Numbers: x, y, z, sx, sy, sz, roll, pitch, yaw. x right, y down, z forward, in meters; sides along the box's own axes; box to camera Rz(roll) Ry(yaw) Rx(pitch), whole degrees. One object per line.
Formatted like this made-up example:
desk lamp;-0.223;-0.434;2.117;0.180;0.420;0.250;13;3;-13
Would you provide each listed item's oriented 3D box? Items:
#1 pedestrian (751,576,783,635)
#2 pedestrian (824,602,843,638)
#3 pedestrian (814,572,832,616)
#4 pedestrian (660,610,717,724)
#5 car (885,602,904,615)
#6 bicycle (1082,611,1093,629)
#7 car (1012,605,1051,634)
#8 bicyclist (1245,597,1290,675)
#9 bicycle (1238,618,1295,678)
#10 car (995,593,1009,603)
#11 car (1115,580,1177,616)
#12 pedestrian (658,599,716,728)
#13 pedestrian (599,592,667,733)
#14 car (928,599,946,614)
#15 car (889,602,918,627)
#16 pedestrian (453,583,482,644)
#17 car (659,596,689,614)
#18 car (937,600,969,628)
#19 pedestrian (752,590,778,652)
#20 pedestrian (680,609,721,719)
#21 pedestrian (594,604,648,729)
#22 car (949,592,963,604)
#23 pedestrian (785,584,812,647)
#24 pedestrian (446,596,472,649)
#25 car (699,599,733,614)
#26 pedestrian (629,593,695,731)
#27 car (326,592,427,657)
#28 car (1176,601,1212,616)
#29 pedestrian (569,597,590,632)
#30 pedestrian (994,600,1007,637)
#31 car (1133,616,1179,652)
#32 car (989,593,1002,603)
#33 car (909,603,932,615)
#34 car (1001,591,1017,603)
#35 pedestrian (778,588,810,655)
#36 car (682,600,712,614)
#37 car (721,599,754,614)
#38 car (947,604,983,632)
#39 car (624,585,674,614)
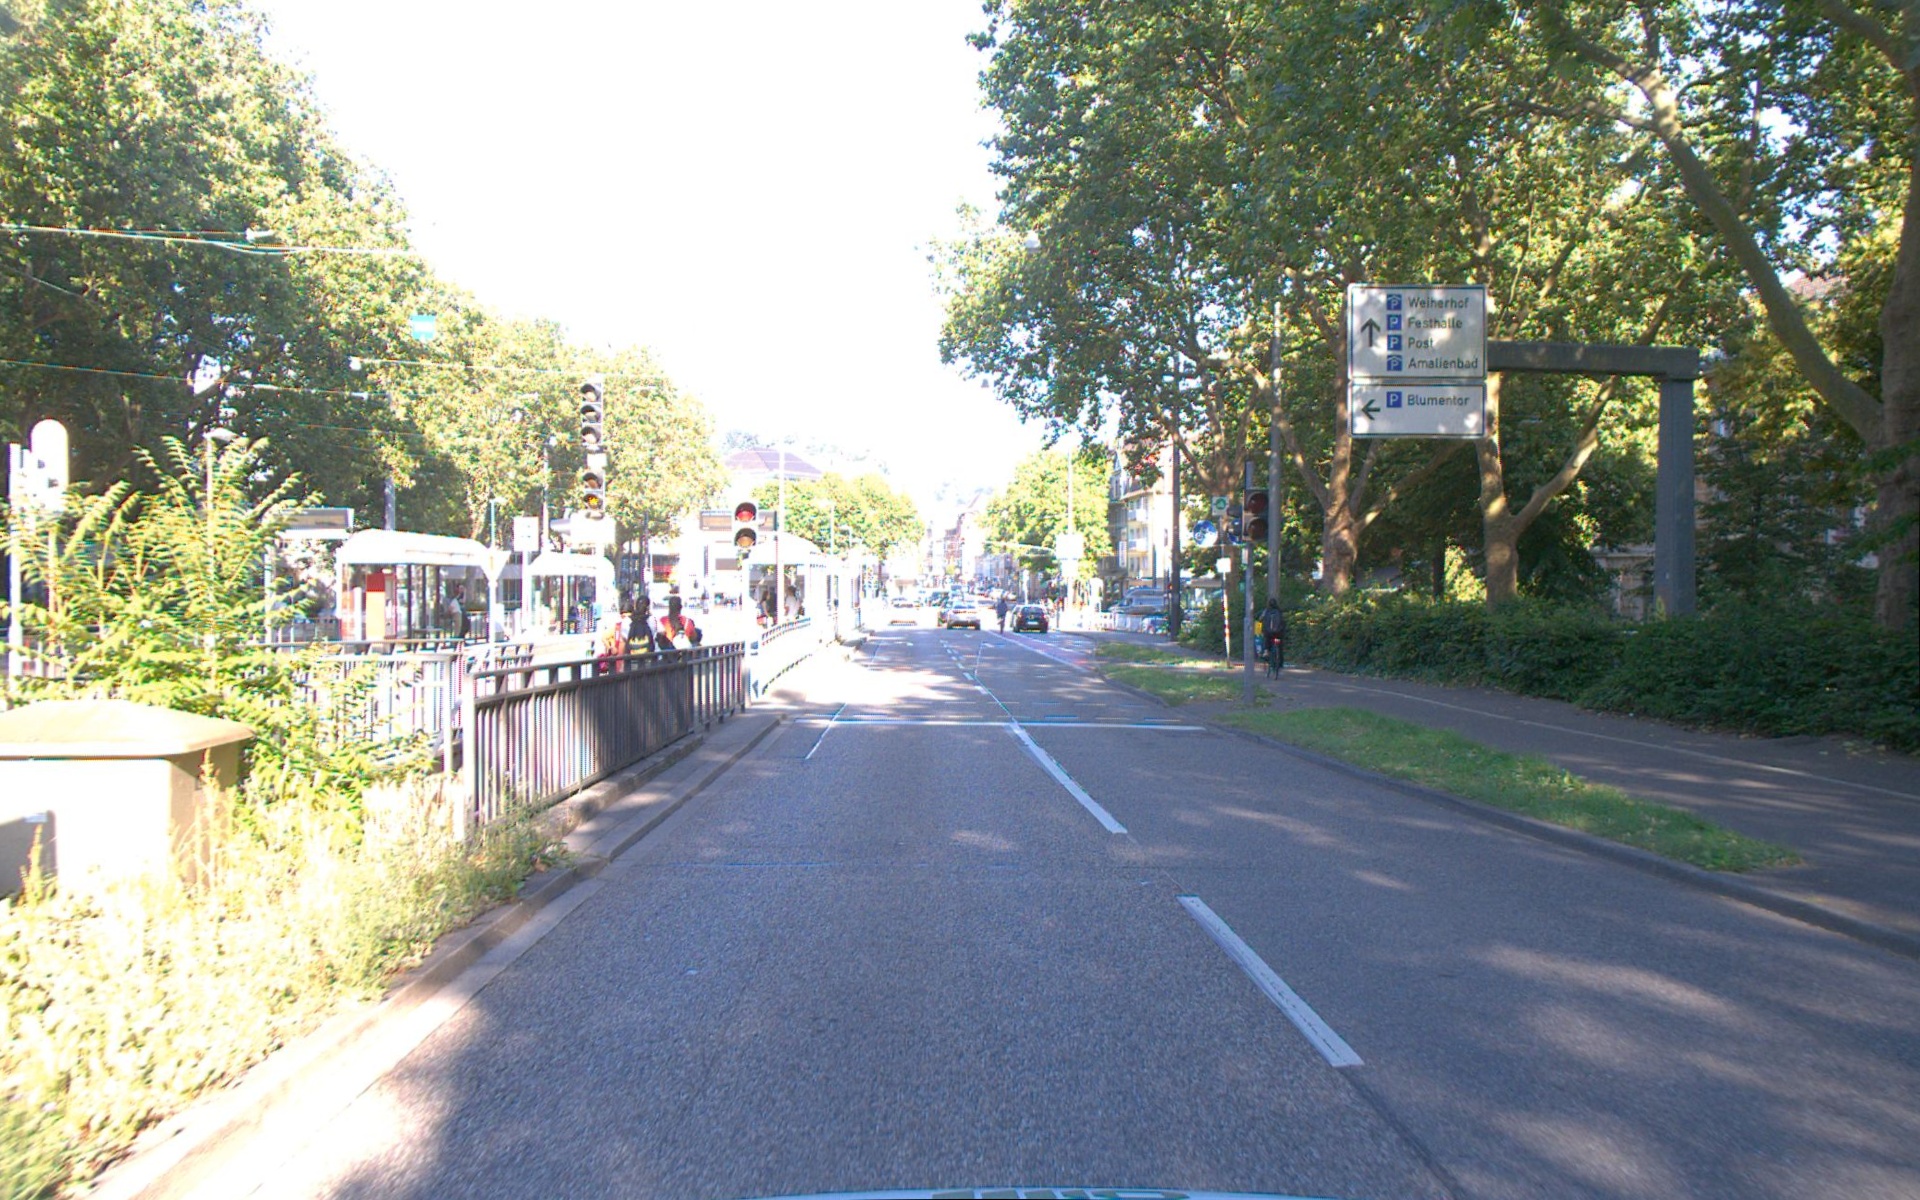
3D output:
pedestrian;-5.826;0.176;49.905;0.647;1.752;0.701;2;-1;-38
pedestrian;-4.701;0.729;61.570;0.665;1.332;0.593;1;-1;-1
pedestrian;-5.373;-0.244;64.860;0.583;1.707;0.589;1;-1;3
pedestrian;-3.518;0.859;21.426;0.581;1.431;0.556;-2;-1;-23
car;-7.704;1.020;195.655;1.756;1.537;4.002;0;-1;5
bicycle;8.078;1.271;104.686;0.488;1.093;1.799;1;-1;-2
car;3.831;1.026;88.995;1.764;1.464;4.043;1;0;-2
bicyclist;6.096;0.705;32.788;0.751;1.539;0.650;0;0;-3
bicycle;6.097;0.942;32.982;0.751;1.127;1.799;0;0;-2
car;6.457;-0.346;254.495;1.758;1.537;3.998;0;0;-2
car;15.220;-0.164;135.099;4.907;2.791;2.075;1;-1;8
pedestrian;-3.349;0.771;20.281;0.578;1.546;0.514;-2;-1;-2
pedestrian;-3.789;0.720;19.161;0.510;1.595;0.507;-3;-1;28
car;-2.894;0.776;211.339;1.756;1.858;4.003;0;0;8
car;-3.541;0.885;102.862;1.772;1.478;3.998;1;0;-3
pedestrian;-14.882;0.414;49.983;0.635;1.803;0.650;1;-1;0
car;-31.658;0.561;183.124;1.756;1.990;4.002;0;0;16
car;-0.431;0.811;101.169;1.764;1.666;4.043;0;0;-3
pedestrian;-5.091;0.555;43.270;0.576;1.594;0.650;1;-1;-2
pedestrian;-3.260;0.798;20.786;0.407;1.344;0.359;-2;-1;-2
pedestrian;-4.162;0.810;20.300;0.509;1.498;0.514;-2;-1;-1
car;-0.589;-0.280;226.045;1.758;1.537;3.997;0;0;-3
pedestrian;-4.904;0.468;50.306;0.637;1.873;0.711;1;-1;8
pedestrian;-14.925;0.663;49.267;0.581;1.571;0.626;1;-1;-2
car;-26.640;0.706;180.786;1.759;1.678;4.006;0;0;27
pedestrian;-3.527;0.731;19.577;0.510;1.595;0.507;-3;-1;28
car;-20.873;0.862;59.404;2.026;2.161;5.086;-2;-1;-4
car;19.049;0.665;134.566;2.841;1.183;2.075;1;-1;8
pedestrian;-15.143;0.566;65.800;0.656;1.348;0.756;-3;0;-4
pedestrian;2.093;0.968;85.297;0.643;1.904;0.677;0;0;-3
car;10.904;1.871;92.395;1.759;1.931;4.355;1;-1;-4
car;5.571;-0.368;260.623;1.758;1.537;3.998;0;0;-2
car;-4.871;1.124;203.824;1.756;1.537;4.002;0;-1;17
car;7.378;-0.477;248.000;2.062;1.807;4.339;0;0;-2
pedestrian;-4.343;0.562;43.397;0.727;1.724;0.791;1;-1;-2
car;-29.027;0.767;182.712;1.756;1.537;4.012;0;0;16
car;-24.210;0.693;180.171;1.881;1.678;4.182;0;0;18
car;0.256;1.019;93.960;1.890;1.498;4.852;0;0;-2
car;-34.611;-0.048;184.400;2.444;3.220;6.536;0;0;21
